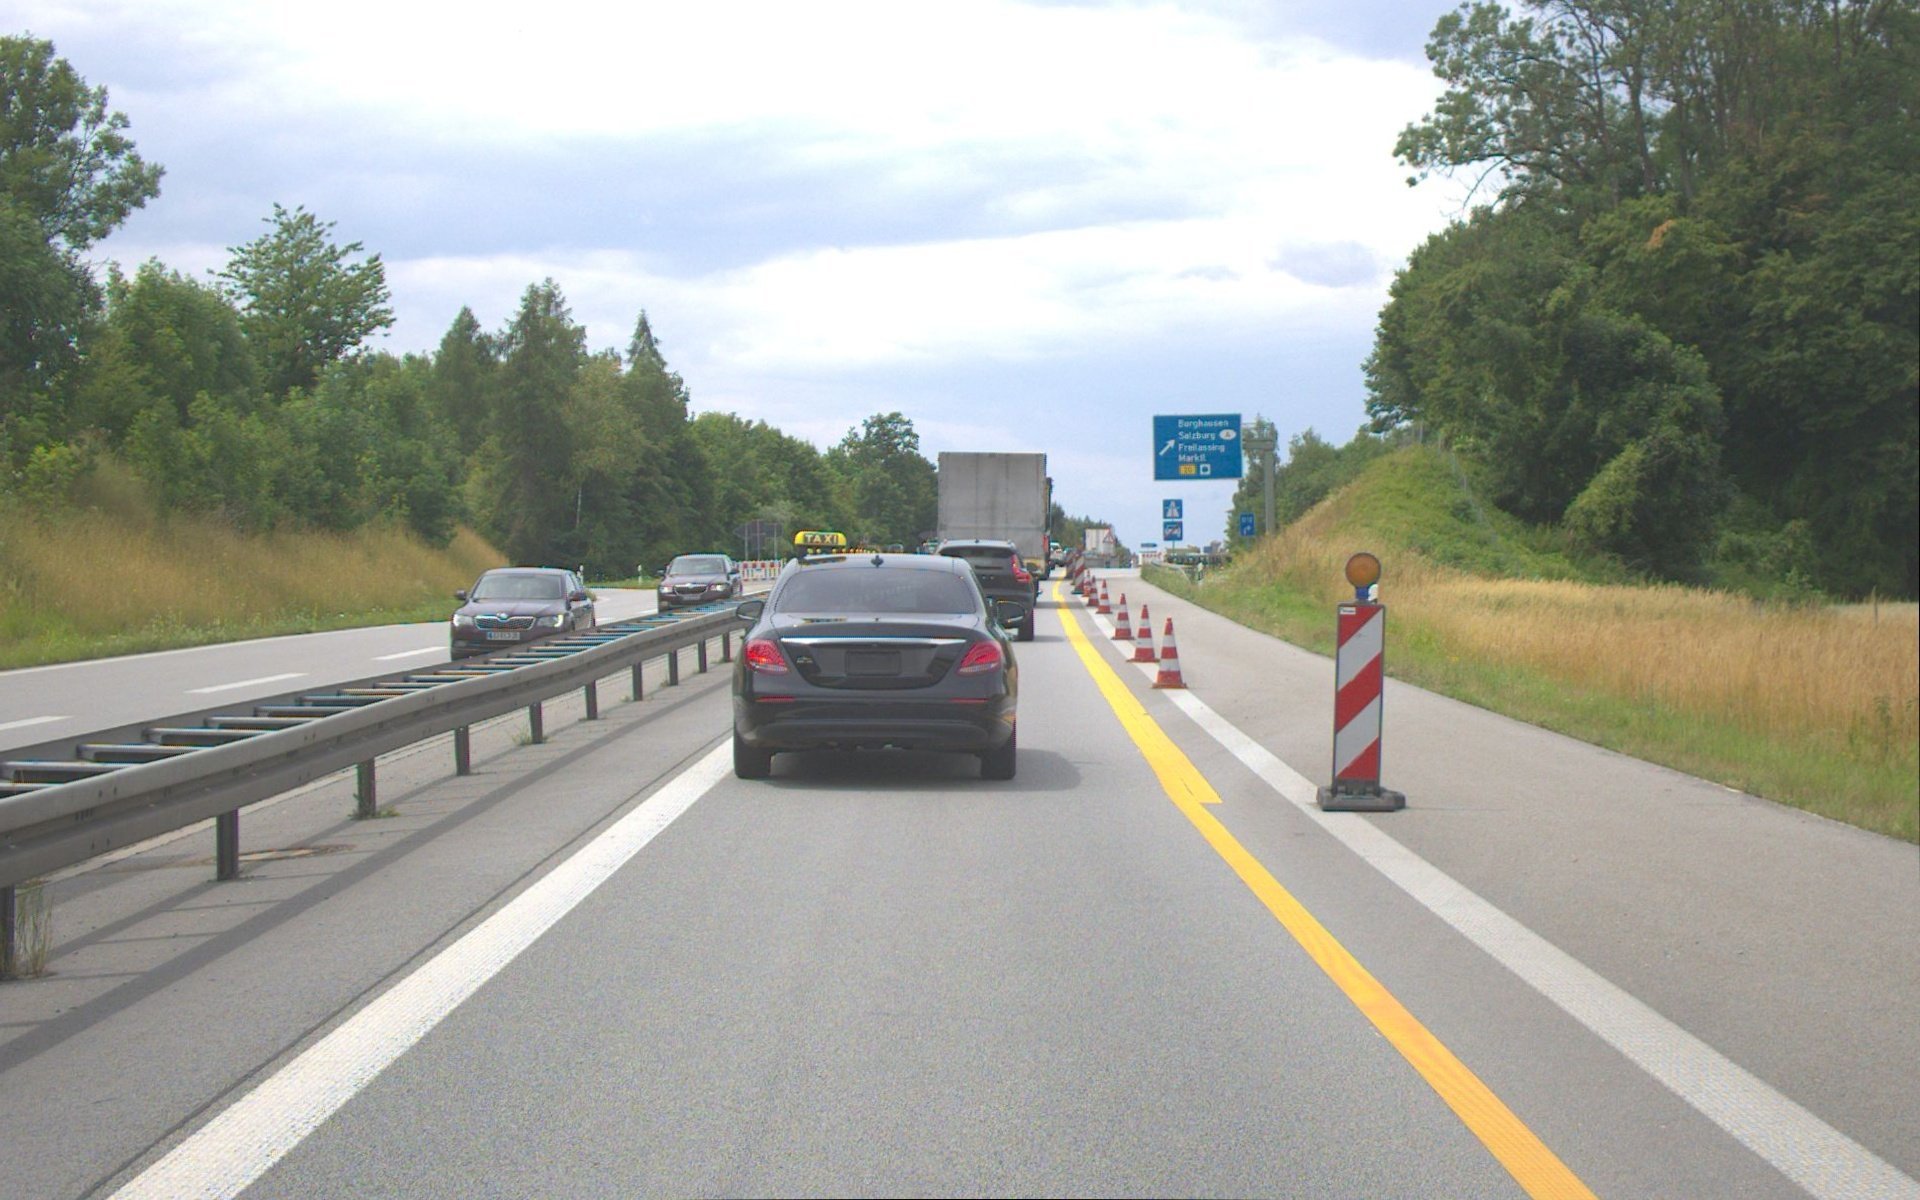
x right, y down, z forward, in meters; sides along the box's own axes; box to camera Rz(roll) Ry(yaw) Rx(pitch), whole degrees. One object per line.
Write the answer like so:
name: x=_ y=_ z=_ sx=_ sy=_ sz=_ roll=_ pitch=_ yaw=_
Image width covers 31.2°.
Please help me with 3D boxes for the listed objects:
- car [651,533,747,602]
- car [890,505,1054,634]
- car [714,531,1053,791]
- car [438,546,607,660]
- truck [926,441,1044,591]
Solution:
car: x=-6.296 y=-0.770 z=83.214 sx=1.993 sy=1.612 sz=4.000 roll=1 pitch=0 yaw=0
car: x=0.155 y=-0.489 z=56.391 sx=1.993 sy=2.007 sz=4.001 roll=1 pitch=0 yaw=-10
car: x=-0.420 y=0.370 z=23.079 sx=1.796 sy=1.554 sz=3.999 roll=1 pitch=0 yaw=5
car: x=-6.506 y=0.042 z=51.496 sx=1.993 sy=1.612 sz=4.000 roll=1 pitch=0 yaw=0
truck: x=0.578 y=-1.995 z=84.016 sx=2.586 sy=3.512 sz=4.813 roll=1 pitch=0 yaw=-2
